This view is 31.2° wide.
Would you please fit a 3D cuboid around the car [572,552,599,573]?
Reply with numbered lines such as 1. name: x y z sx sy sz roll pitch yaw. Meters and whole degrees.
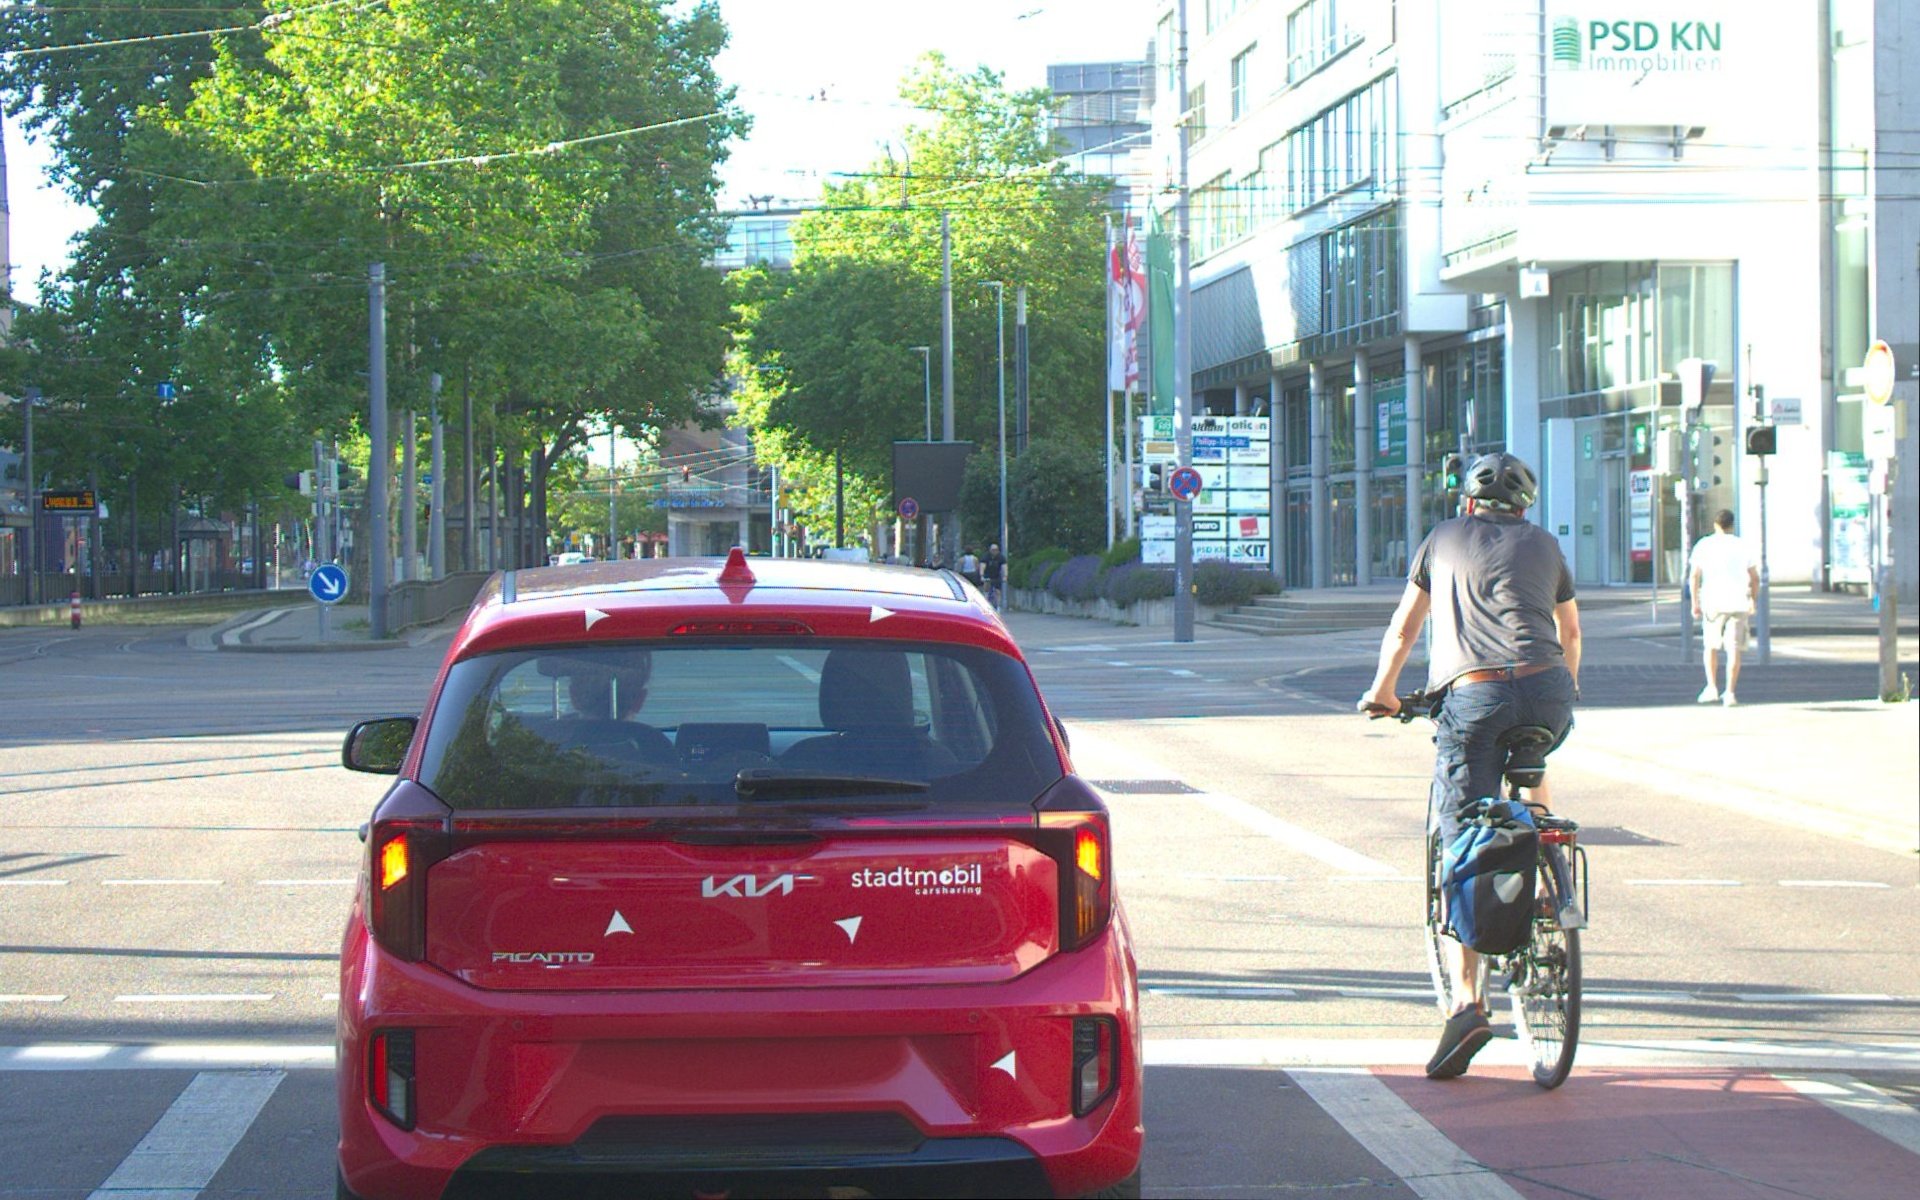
1. car: -27.846 -2.777 255.820 1.777 1.529 3.413 0 1 -10

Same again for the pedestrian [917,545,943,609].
1. pedestrian: -0.810 -0.616 91.821 0.646 1.674 0.651 -1 1 -3

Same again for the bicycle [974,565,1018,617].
1. bicycle: 0.806 -0.208 77.591 0.696 1.094 1.751 -4 2 -6

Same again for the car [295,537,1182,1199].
1. car: -0.550 0.625 7.979 1.613 1.529 3.412 0 1 -5

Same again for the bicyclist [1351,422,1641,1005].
1. bicyclist: 1.537 0.304 10.003 0.650 1.597 1.089 -1 1 -1

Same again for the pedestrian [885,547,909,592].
1. pedestrian: -2.476 -1.202 134.997 0.891 1.747 0.841 -1 1 -1

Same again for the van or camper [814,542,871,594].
1. van or camper: -4.541 -1.234 132.280 1.993 1.982 4.745 0 1 -4

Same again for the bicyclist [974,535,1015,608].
1. bicyclist: 0.779 -0.651 77.559 0.721 1.597 1.089 -3 1 -6

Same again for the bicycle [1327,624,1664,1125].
1. bicycle: 1.527 0.736 10.107 0.650 1.276 1.966 -1 1 -1

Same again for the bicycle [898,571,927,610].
1. bicycle: -1.281 -0.257 92.028 0.520 0.971 2.202 -4 2 -5

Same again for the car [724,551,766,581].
1. car: -10.958 -1.750 175.272 1.777 1.529 3.513 0 1 -10

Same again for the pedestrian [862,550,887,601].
1. pedestrian: -2.725 -0.776 109.393 0.642 1.574 0.723 -4 1 -4

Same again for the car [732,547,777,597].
1. car: -7.587 -1.051 127.111 1.635 1.794 3.330 -1 1 -3

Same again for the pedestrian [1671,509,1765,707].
1. pedestrian: 7.122 0.067 32.270 0.778 1.817 1.215 0 1 16

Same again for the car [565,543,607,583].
1. car: -19.305 -1.929 177.136 1.993 2.007 4.001 -1 1 -8
